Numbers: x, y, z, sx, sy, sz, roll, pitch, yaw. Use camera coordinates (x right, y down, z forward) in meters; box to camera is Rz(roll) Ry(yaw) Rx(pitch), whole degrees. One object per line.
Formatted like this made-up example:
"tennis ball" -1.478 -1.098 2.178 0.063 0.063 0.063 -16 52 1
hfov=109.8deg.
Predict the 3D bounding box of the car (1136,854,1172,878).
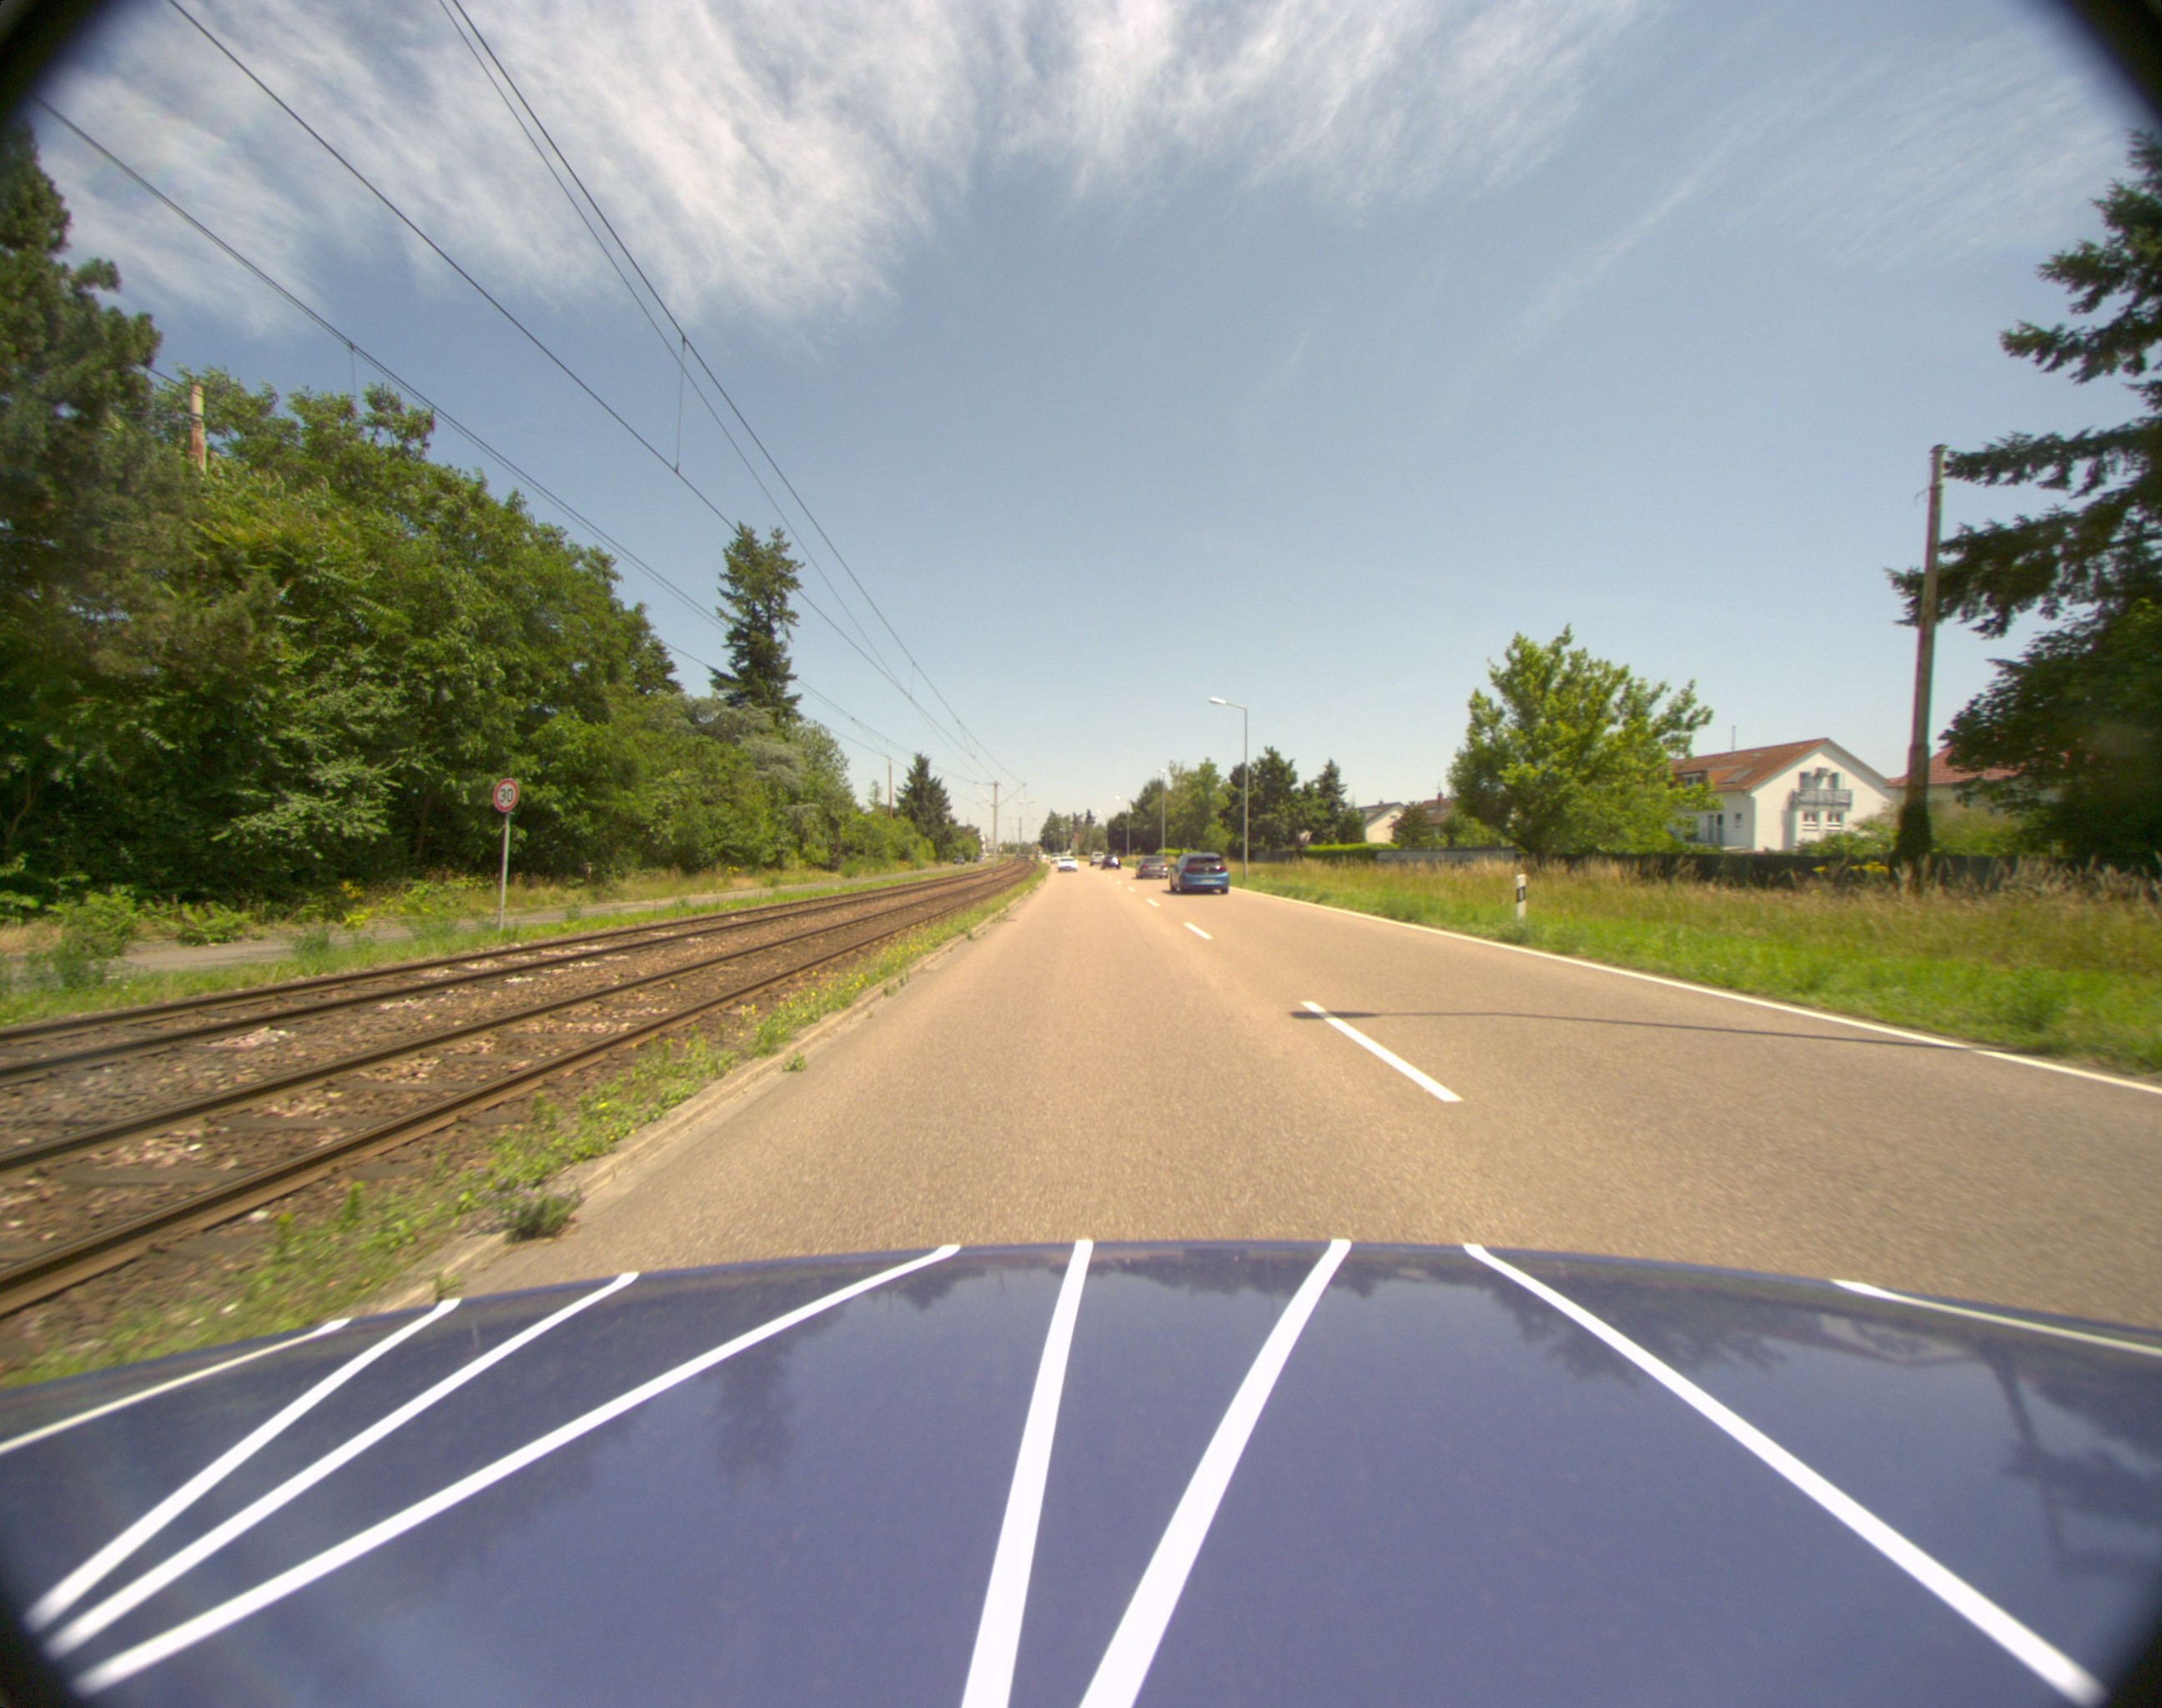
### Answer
"car" 4.529 0.694 47.408 1.761 1.414 4.323 -1 0 -1

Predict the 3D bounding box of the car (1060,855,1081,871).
"car" -0.992 0.816 73.729 1.955 1.467 4.361 0 0 -1

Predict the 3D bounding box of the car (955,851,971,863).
"car" -19.337 0.469 125.104 1.999 1.710 3.999 -2 1 -1

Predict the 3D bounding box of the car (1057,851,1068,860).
"car" -3.371 0.270 137.562 1.892 1.456 3.998 0 0 -5

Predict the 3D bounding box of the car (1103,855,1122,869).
"car" 3.219 0.808 78.832 1.740 1.487 4.828 0 0 -1

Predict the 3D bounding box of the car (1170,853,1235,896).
"car" 4.566 0.735 29.084 1.820 1.496 3.999 -1 0 -1

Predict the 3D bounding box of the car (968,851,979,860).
"car" -21.893 0.204 154.826 1.947 1.685 3.998 -3 1 -5

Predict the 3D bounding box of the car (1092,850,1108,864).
"car" 2.480 0.382 99.848 1.844 1.749 4.931 0 0 -1
